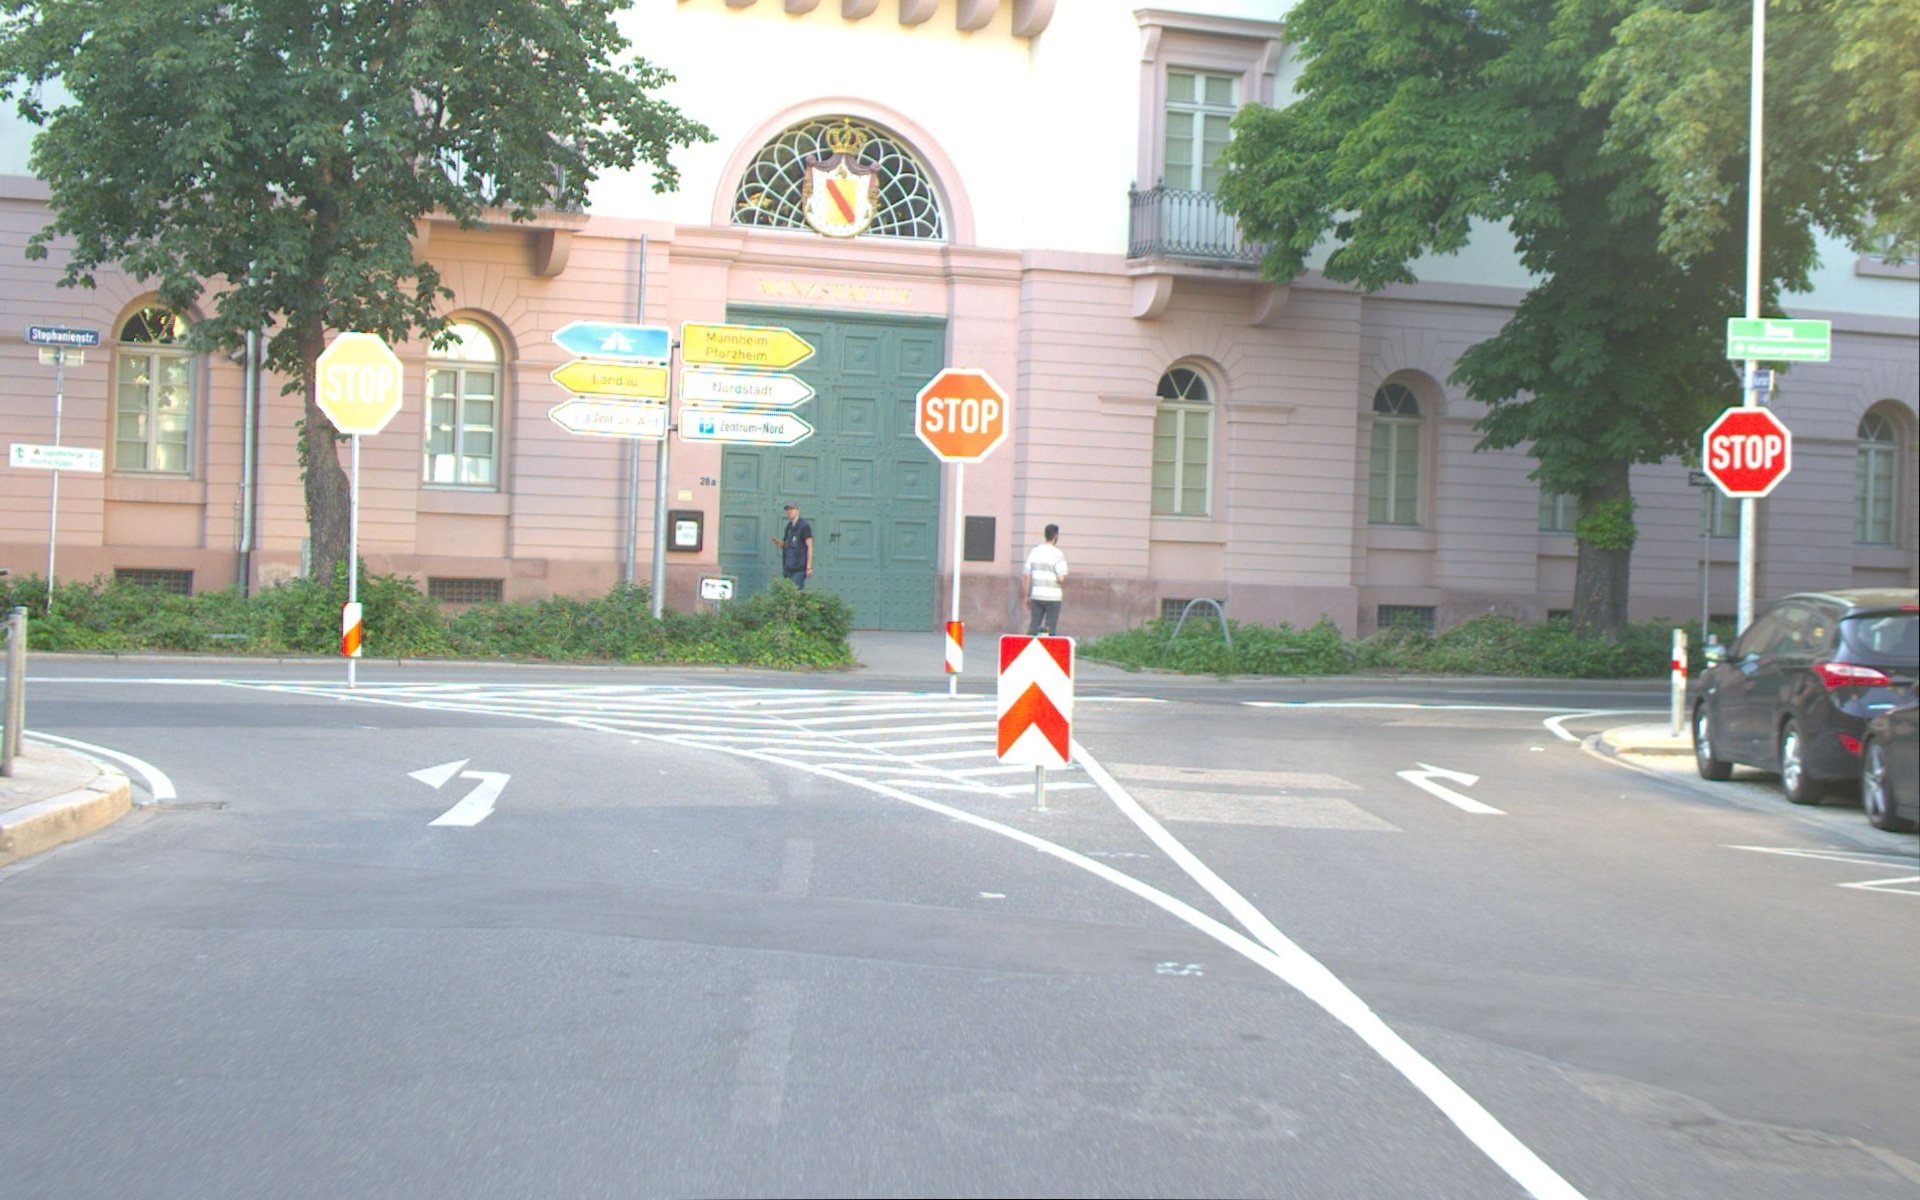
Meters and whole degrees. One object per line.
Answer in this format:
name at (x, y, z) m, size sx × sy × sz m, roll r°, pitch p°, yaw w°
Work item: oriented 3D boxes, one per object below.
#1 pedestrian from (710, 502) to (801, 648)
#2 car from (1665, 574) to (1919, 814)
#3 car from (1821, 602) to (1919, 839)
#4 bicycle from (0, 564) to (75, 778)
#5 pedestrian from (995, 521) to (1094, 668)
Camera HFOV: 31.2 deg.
pedestrian at (-2.639, -0.327, 44.270) m, size 0.798 × 1.832 × 1.083 m, roll 1°, pitch 1°, yaw -24°
car at (6.646, 0.643, 25.439) m, size 1.801 × 1.536 × 4.431 m, roll 3°, pitch 1°, yaw -1°
car at (6.707, 0.789, 20.703) m, size 1.773 × 1.390 × 4.858 m, roll 3°, pitch 1°, yaw 0°
bicycle at (-5.488, 0.368, 18.482) m, size 0.726 × 1.122 × 1.803 m, roll 5°, pitch 1°, yaw 7°
pedestrian at (1.073, -0.074, 43.775) m, size 0.926 × 1.825 × 0.801 m, roll 1°, pitch 1°, yaw -28°
